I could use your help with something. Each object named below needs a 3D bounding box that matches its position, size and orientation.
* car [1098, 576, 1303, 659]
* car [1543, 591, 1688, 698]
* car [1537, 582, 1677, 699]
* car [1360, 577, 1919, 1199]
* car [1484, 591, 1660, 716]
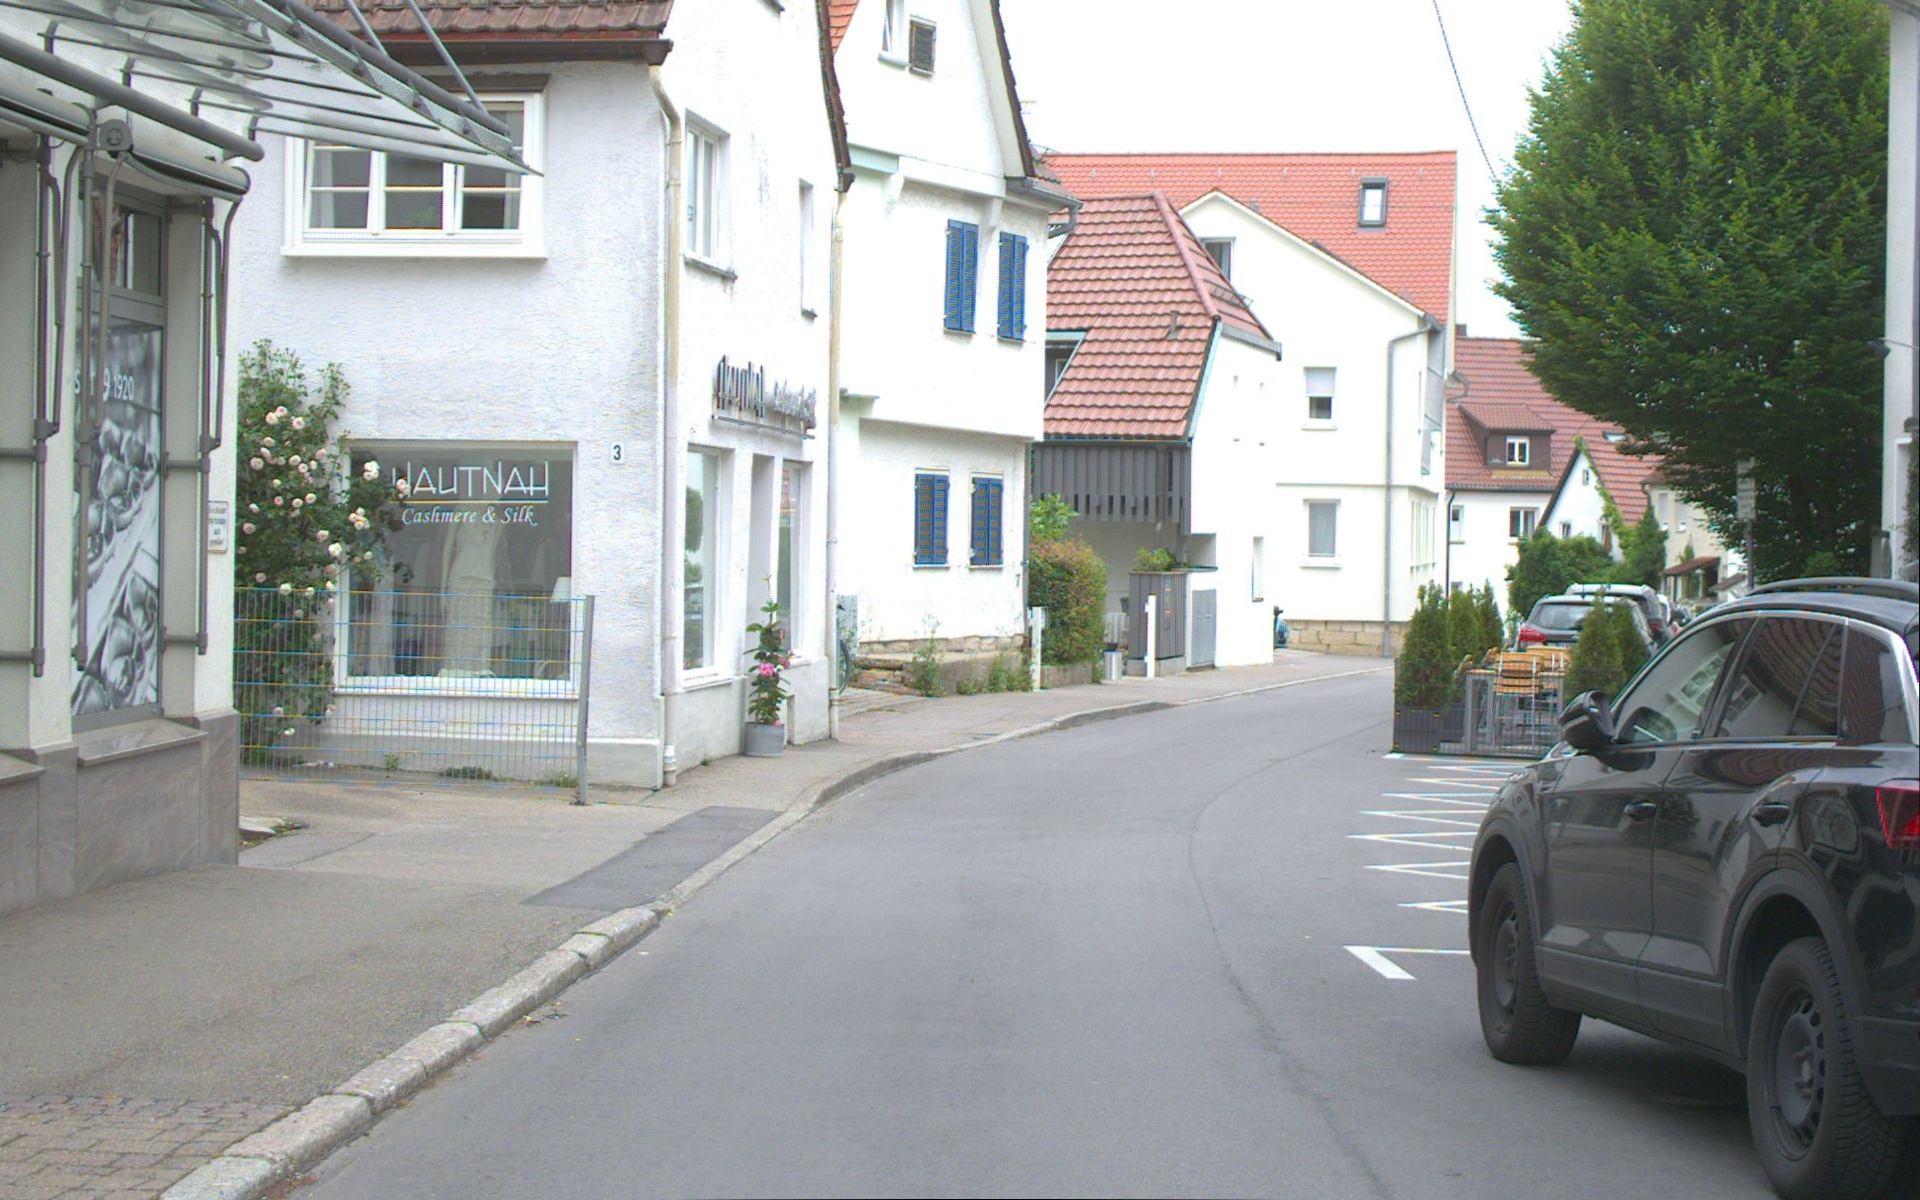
[{"bbox_3d":[4.986,0.372,71.047,3.734,1.407,2.118,4,-1,18],"label":"car"},{"bbox_3d":[10.919,0.707,57.048,1.995,1.610,4.875,2,1,14],"label":"car"},{"bbox_3d":[9.697,0.589,51.297,1.864,1.628,4.898,1,0,12],"label":"car"},{"bbox_3d":[2.639,0.770,9.981,1.787,1.595,4.543,2,0,-8],"label":"car"},{"bbox_3d":[8.156,0.667,45.515,1.949,1.503,4.817,2,0,14],"label":"car"}]
